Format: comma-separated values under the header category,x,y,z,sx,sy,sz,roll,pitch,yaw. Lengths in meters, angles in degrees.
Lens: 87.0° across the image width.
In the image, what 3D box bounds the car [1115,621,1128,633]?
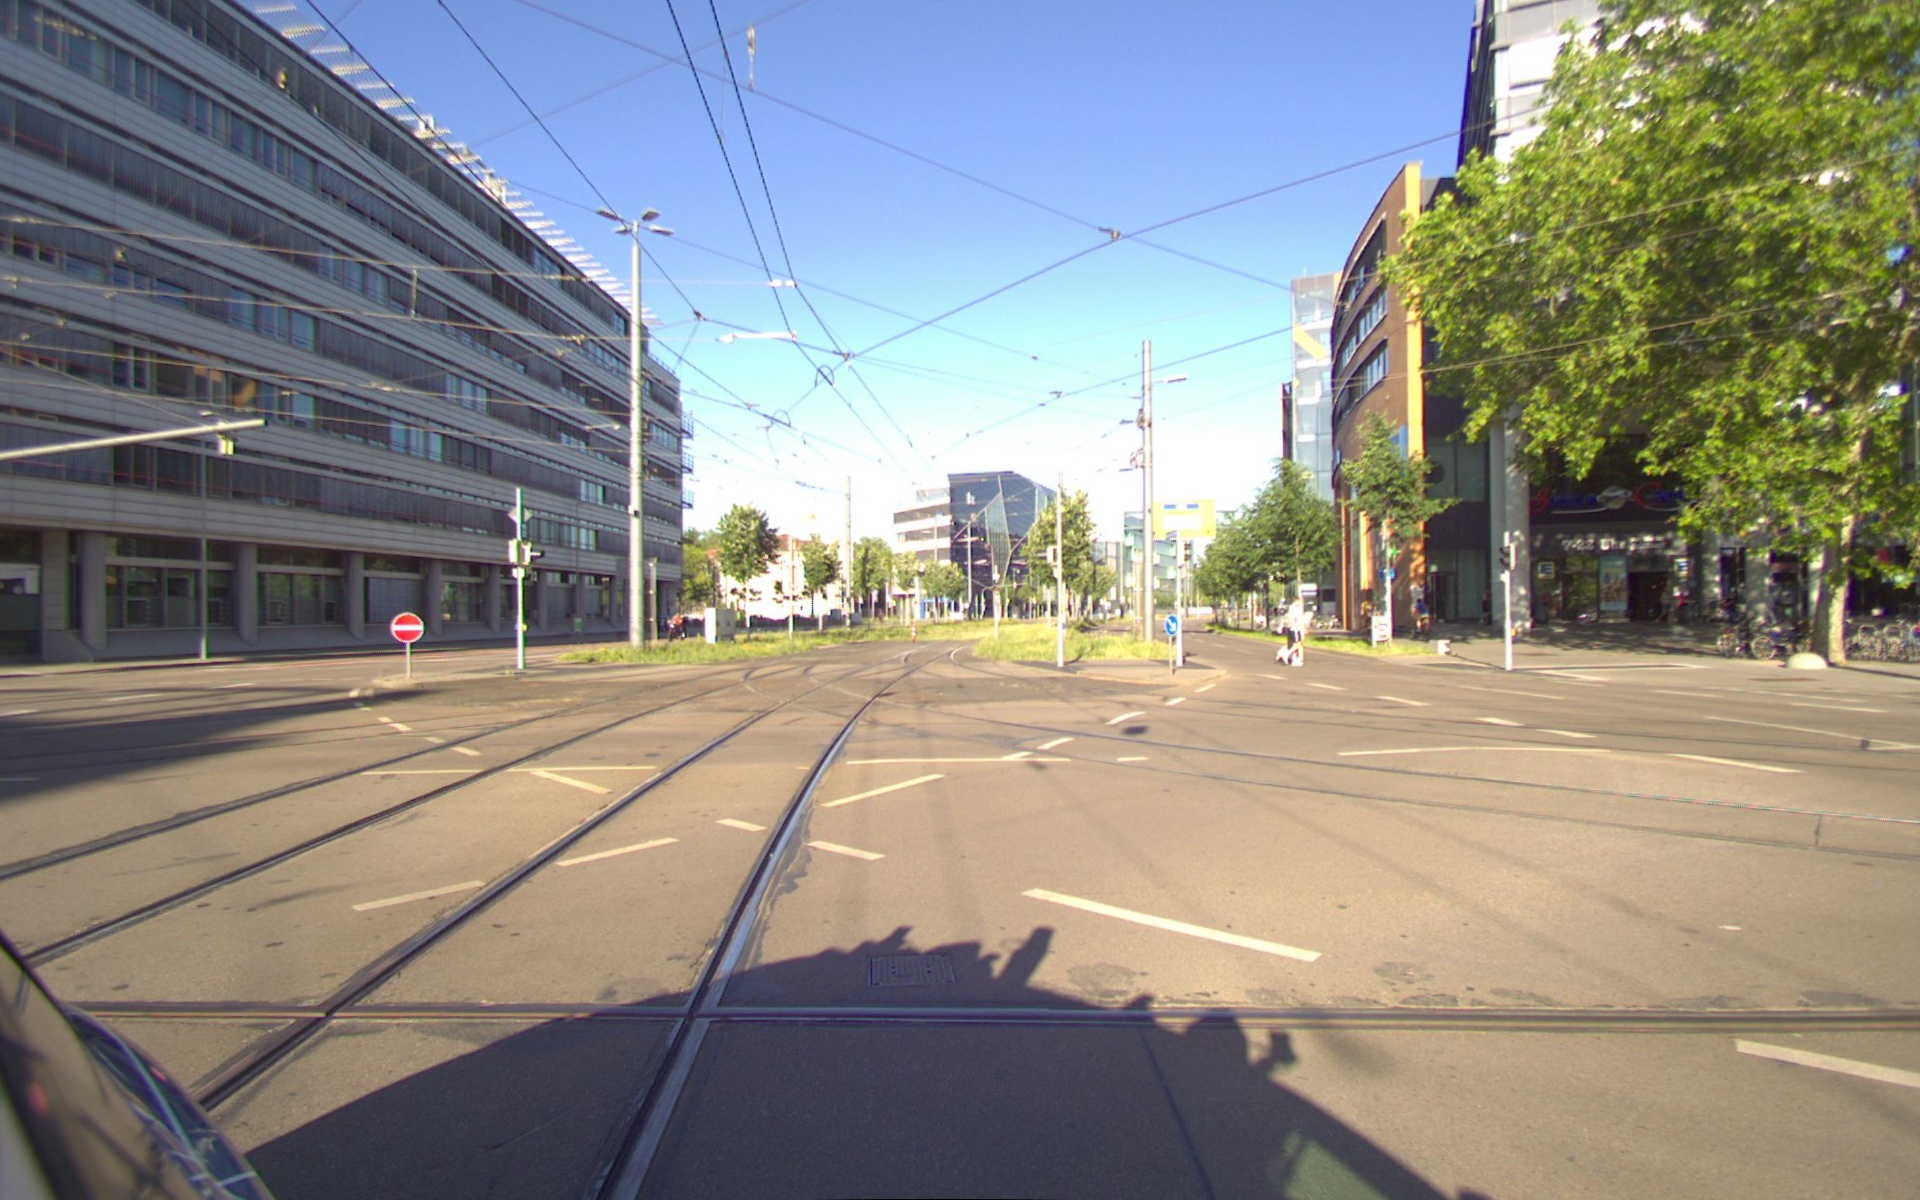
category,x,y,z,sx,sy,sz,roll,pitch,yaw
car,22.034,3.667,138.508,1.608,1.539,4.791,-1,-1,8

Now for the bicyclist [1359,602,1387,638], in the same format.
category,x,y,z,sx,sy,sz,roll,pitch,yaw
bicyclist,17.879,0.869,43.825,0.885,1.560,0.936,0,-2,9

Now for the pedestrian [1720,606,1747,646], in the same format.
category,x,y,z,sx,sy,sz,roll,pitch,yaw
pedestrian,31.915,1.070,41.737,0.687,1.665,0.707,0,-1,-38

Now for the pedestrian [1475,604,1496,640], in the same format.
category,x,y,z,sx,sy,sz,roll,pitch,yaw
pedestrian,25.011,1.040,48.158,0.734,1.718,0.689,-2,-2,44

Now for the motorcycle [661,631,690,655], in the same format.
category,x,y,z,sx,sy,sz,roll,pitch,yaw
motorcycle,-15.594,2.356,55.491,0.811,1.230,2.252,0,-1,4

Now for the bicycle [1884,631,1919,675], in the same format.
category,x,y,z,sx,sy,sz,roll,pitch,yaw
bicycle,25.749,1.390,26.490,2.338,1.137,0.598,0,-2,7

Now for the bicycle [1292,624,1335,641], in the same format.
category,x,y,z,sx,sy,sz,roll,pitch,yaw
bicycle,23.983,2.196,68.728,2.670,1.112,0.890,-1,-2,19

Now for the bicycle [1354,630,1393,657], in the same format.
category,x,y,z,sx,sy,sz,roll,pitch,yaw
bicycle,17.874,1.859,43.781,0.885,1.112,2.685,0,-2,8

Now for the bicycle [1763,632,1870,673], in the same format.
category,x,y,z,sx,sy,sz,roll,pitch,yaw
bicycle,24.339,1.490,28.785,2.338,1.137,0.598,0,-2,7

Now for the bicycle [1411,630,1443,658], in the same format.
category,x,y,z,sx,sy,sz,roll,pitch,yaw
bicycle,19.744,1.853,42.826,0.685,1.145,1.847,0,-1,7

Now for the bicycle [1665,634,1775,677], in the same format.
category,x,y,z,sx,sy,sz,roll,pitch,yaw
bicycle,20.583,1.495,27.439,2.339,1.137,0.597,0,-2,8

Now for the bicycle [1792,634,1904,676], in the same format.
category,x,y,z,sx,sy,sz,roll,pitch,yaw
bicycle,24.307,1.506,27.734,2.338,1.137,0.598,0,-2,7

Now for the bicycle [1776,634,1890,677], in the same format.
category,x,y,z,sx,sy,sz,roll,pitch,yaw
bicycle,23.415,1.482,27.180,2.338,1.137,0.598,0,-2,7

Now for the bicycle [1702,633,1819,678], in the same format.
category,x,y,z,sx,sy,sz,roll,pitch,yaw
bicycle,20.513,1.426,25.959,2.339,1.137,0.597,0,-2,8

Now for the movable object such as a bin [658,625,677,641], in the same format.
category,x,y,z,sx,sy,sz,roll,pitch,yaw
movable object such as a bin,-25.068,2.814,86.654,1.160,1.311,1.326,-1,-1,8

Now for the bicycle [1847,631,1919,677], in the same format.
category,x,y,z,sx,sy,sz,roll,pitch,yaw
bicycle,23.779,1.357,25.368,2.338,1.137,0.598,0,-2,7

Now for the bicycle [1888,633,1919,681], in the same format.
category,x,y,z,sx,sy,sz,roll,pitch,yaw
bicycle,23.606,1.344,24.061,2.338,1.137,0.598,0,-2,7

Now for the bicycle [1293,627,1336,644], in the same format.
category,x,y,z,sx,sy,sz,roll,pitch,yaw
bicycle,23.680,2.395,67.725,2.670,1.112,0.890,-1,-2,19

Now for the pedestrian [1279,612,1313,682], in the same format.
category,x,y,z,sx,sy,sz,roll,pitch,yaw
pedestrian,9.185,1.282,27.689,0.725,1.884,0.697,0,-1,7

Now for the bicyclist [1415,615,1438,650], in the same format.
category,x,y,z,sx,sy,sz,roll,pitch,yaw
bicyclist,19.737,1.370,42.829,0.685,1.472,0.752,0,-1,7

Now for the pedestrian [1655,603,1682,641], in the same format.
category,x,y,z,sx,sy,sz,roll,pitch,yaw
pedestrian,31.571,0.996,45.098,0.691,1.665,0.703,-1,-1,11

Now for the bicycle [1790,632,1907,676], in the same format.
category,x,y,z,sx,sy,sz,roll,pitch,yaw
bicycle,23.275,1.404,26.529,2.338,1.137,0.598,0,-2,7

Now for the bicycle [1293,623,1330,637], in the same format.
category,x,y,z,sx,sy,sz,roll,pitch,yaw
bicycle,26.805,2.289,77.194,2.670,1.112,0.890,-1,-2,19

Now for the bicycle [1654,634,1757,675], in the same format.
category,x,y,z,sx,sy,sz,roll,pitch,yaw
bicycle,21.250,1.556,28.887,2.339,1.137,0.597,0,-2,8

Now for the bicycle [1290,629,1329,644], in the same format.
category,x,y,z,sx,sy,sz,roll,pitch,yaw
bicycle,25.678,2.673,74.439,2.670,1.112,0.890,0,-2,19

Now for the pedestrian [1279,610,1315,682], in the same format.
category,x,y,z,sx,sy,sz,roll,pitch,yaw
pedestrian,8.928,1.215,26.818,0.724,1.884,0.672,0,-1,5

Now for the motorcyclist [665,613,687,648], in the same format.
category,x,y,z,sx,sy,sz,roll,pitch,yaw
motorcyclist,-15.586,1.654,55.565,0.811,1.871,1.111,0,-1,5

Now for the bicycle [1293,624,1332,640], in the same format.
category,x,y,z,sx,sy,sz,roll,pitch,yaw
bicycle,25.461,2.311,73.138,2.670,1.112,0.890,-1,-2,19
